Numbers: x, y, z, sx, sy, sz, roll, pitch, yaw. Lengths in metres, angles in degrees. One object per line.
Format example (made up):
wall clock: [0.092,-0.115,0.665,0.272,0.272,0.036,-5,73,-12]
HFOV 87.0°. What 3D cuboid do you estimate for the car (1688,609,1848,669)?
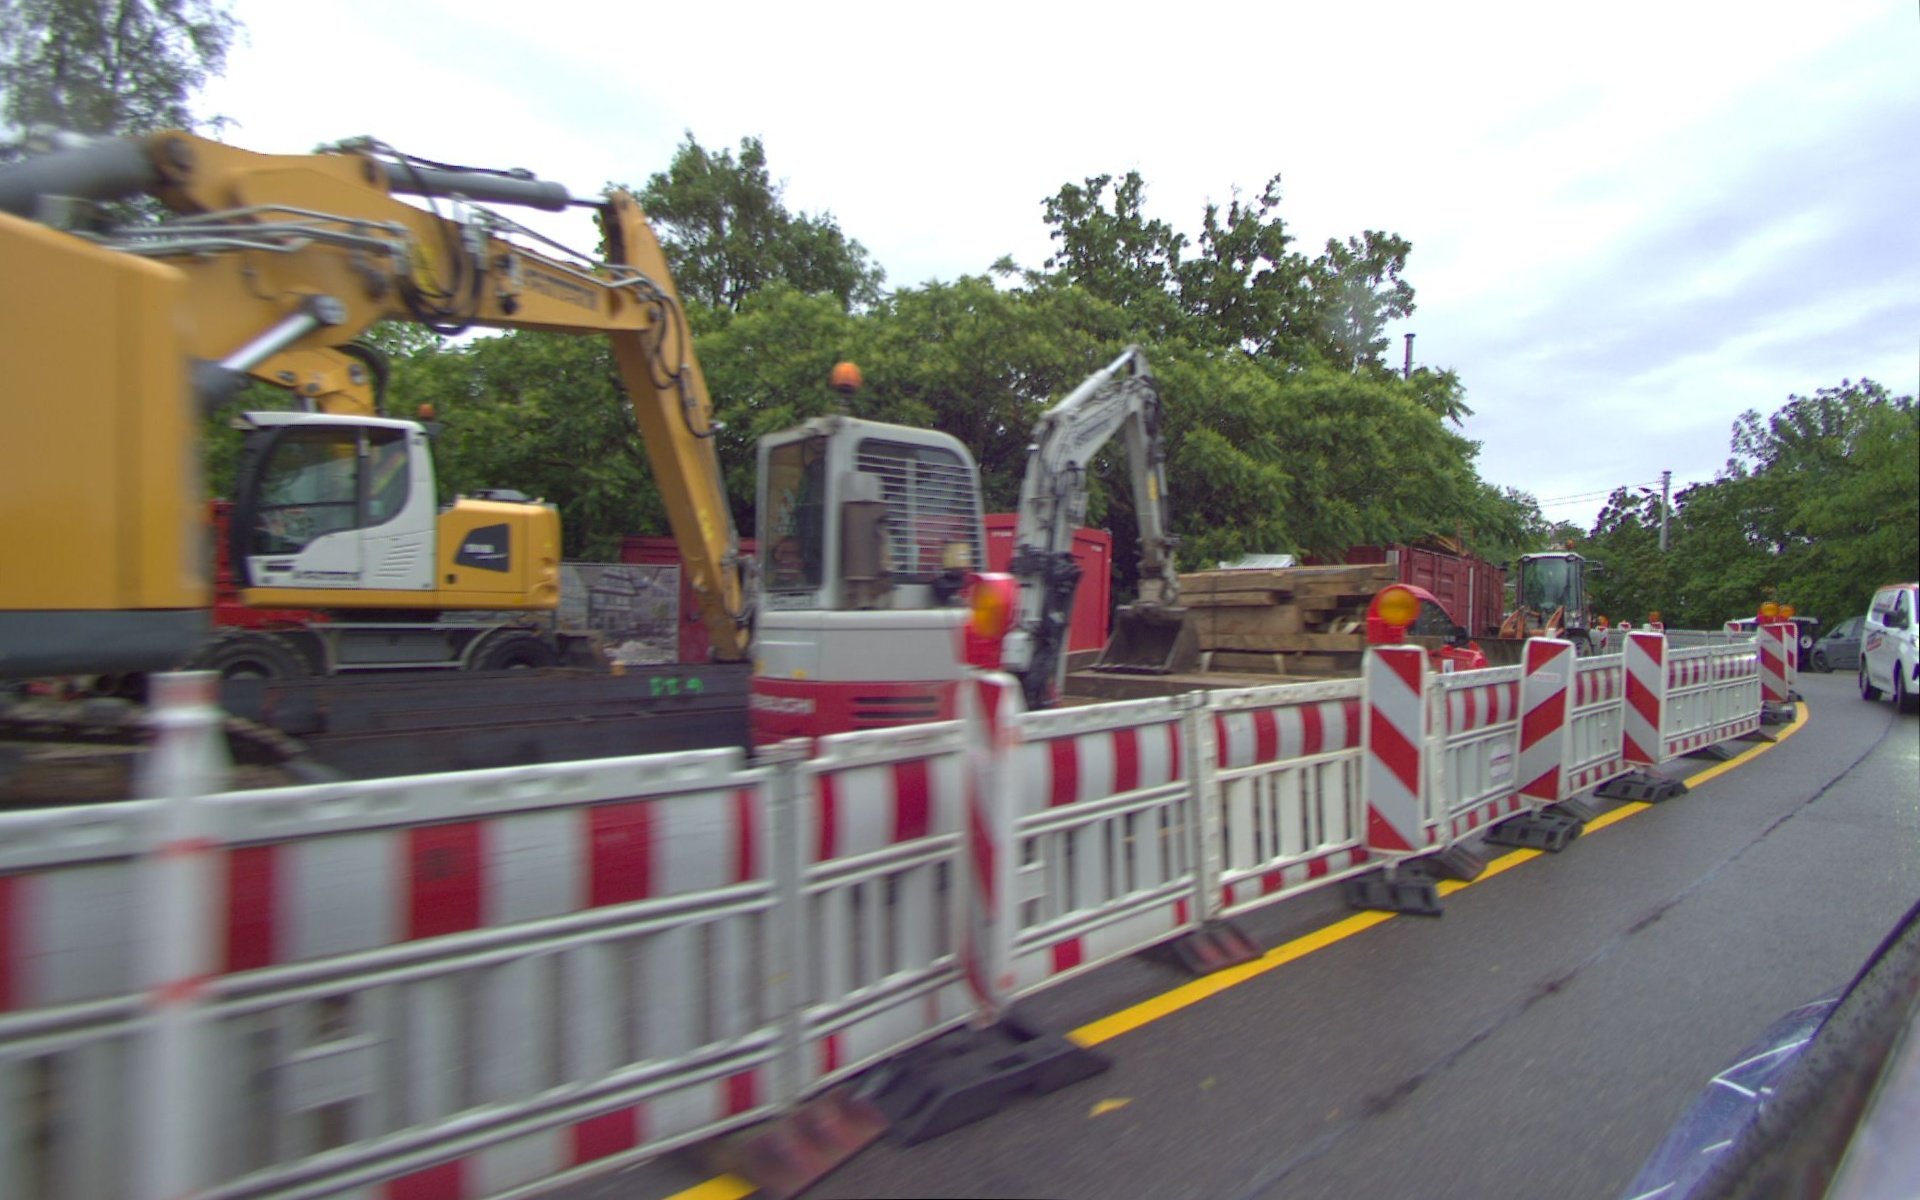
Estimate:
car: [30.035,1.436,37.851,1.834,2.040,4.816,3,-2,-5]

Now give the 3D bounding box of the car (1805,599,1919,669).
car: [29.477,1.095,32.108,1.969,2.039,4.930,1,-1,12]

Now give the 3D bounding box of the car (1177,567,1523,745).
car: [5.024,0.586,12.634,4.910,1.802,1.997,1,-1,-41]

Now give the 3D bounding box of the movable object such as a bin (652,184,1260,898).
movable object such as a bin: [0.175,-0.345,6.802,1.994,3.346,3.775,1,2,45]

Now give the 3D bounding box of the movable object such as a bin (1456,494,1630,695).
movable object such as a bin: [11.735,0.075,20.159,2.073,3.270,5.203,0,-7,40]

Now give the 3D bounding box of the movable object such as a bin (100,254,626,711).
movable object such as a bin: [-6.264,-0.992,10.999,4.539,3.938,1.995,1,-1,-44]

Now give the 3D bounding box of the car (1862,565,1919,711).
car: [15.526,0.567,15.474,1.987,2.039,4.886,0,-1,35]

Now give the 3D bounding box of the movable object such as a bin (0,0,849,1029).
movable object such as a bin: [-3.845,-1.279,5.966,3.020,4.979,10.783,0,2,12]
